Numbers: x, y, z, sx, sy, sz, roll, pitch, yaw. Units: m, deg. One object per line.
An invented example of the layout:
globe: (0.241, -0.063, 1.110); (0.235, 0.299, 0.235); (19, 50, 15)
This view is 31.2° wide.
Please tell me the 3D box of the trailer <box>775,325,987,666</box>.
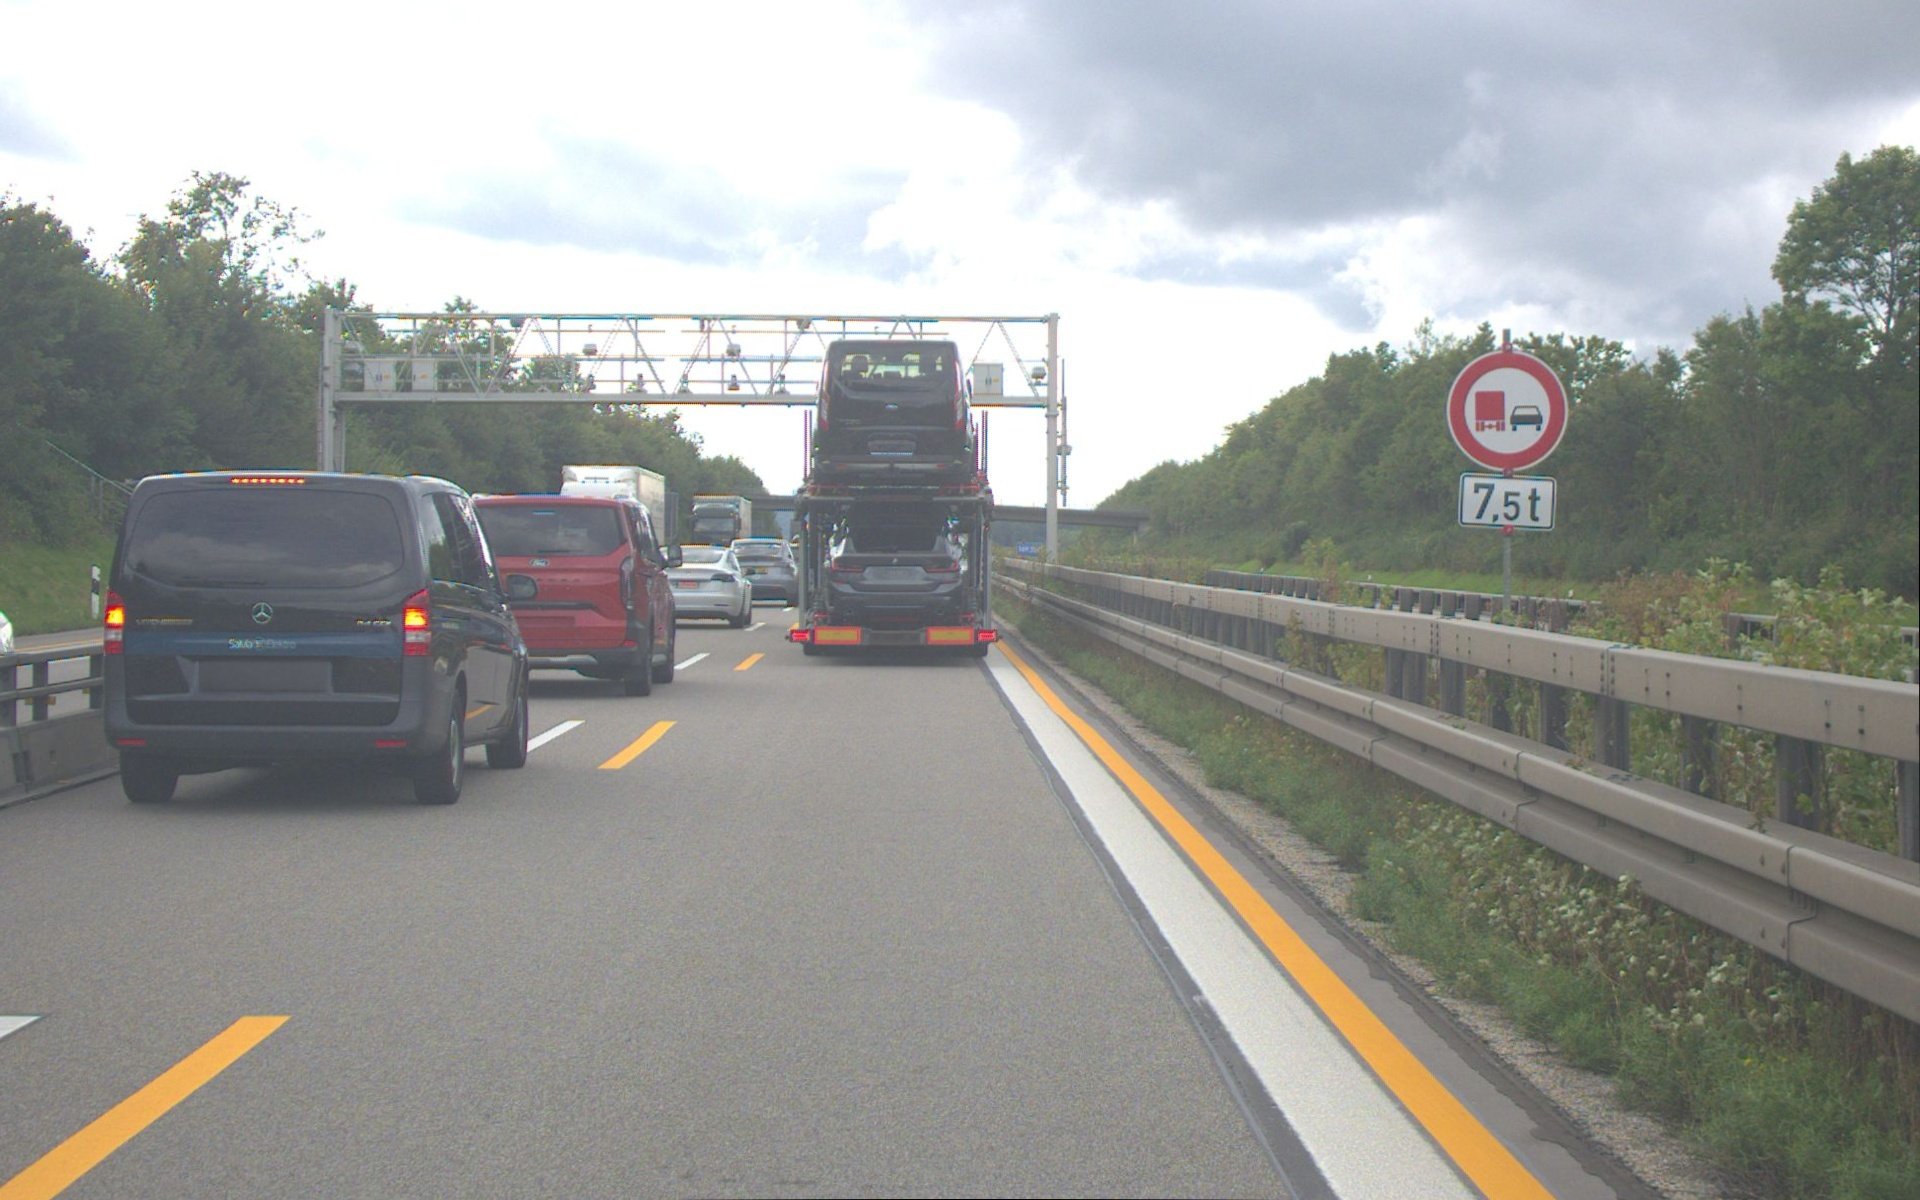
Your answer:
trailer: (-0.977, -1.341, 46.980); (2.515, 4.091, 11.114); (1, 1, 0)

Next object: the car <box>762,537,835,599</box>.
car: (-4.642, -0.931, 99.125); (2.031, 1.751, 4.578); (0, 1, -2)

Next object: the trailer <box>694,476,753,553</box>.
trailer: (-13.329, -4.830, 194.675); (2.598, 4.140, 13.993); (1, 1, -1)

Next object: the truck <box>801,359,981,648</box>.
truck: (-0.990, -1.412, 51.718); (2.515, 4.091, 5.685); (1, 1, 0)

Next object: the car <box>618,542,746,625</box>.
car: (-4.915, -0.321, 61.315); (2.031, 1.426, 4.578); (0, 1, -1)

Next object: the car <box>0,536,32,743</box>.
car: (-7.548, 0.297, 22.749); (1.695, 1.449, 4.552); (0, 1, -1)

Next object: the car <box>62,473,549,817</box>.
car: (-3.828, 0.196, 21.160); (1.993, 1.837, 5.610); (0, 1, -1)

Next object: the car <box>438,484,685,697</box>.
car: (-3.945, -0.126, 34.757); (2.031, 2.007, 4.578); (0, 1, -1)

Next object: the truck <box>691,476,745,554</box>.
truck: (-13.196, -4.656, 187.961); (2.598, 4.140, 5.621); (1, 1, -1)

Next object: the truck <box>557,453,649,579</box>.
truck: (-12.048, -2.845, 116.431); (2.598, 4.140, 5.621); (1, 1, -1)

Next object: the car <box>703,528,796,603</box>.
car: (-4.985, -0.834, 81.877); (2.031, 1.751, 4.578); (0, 1, -1)
